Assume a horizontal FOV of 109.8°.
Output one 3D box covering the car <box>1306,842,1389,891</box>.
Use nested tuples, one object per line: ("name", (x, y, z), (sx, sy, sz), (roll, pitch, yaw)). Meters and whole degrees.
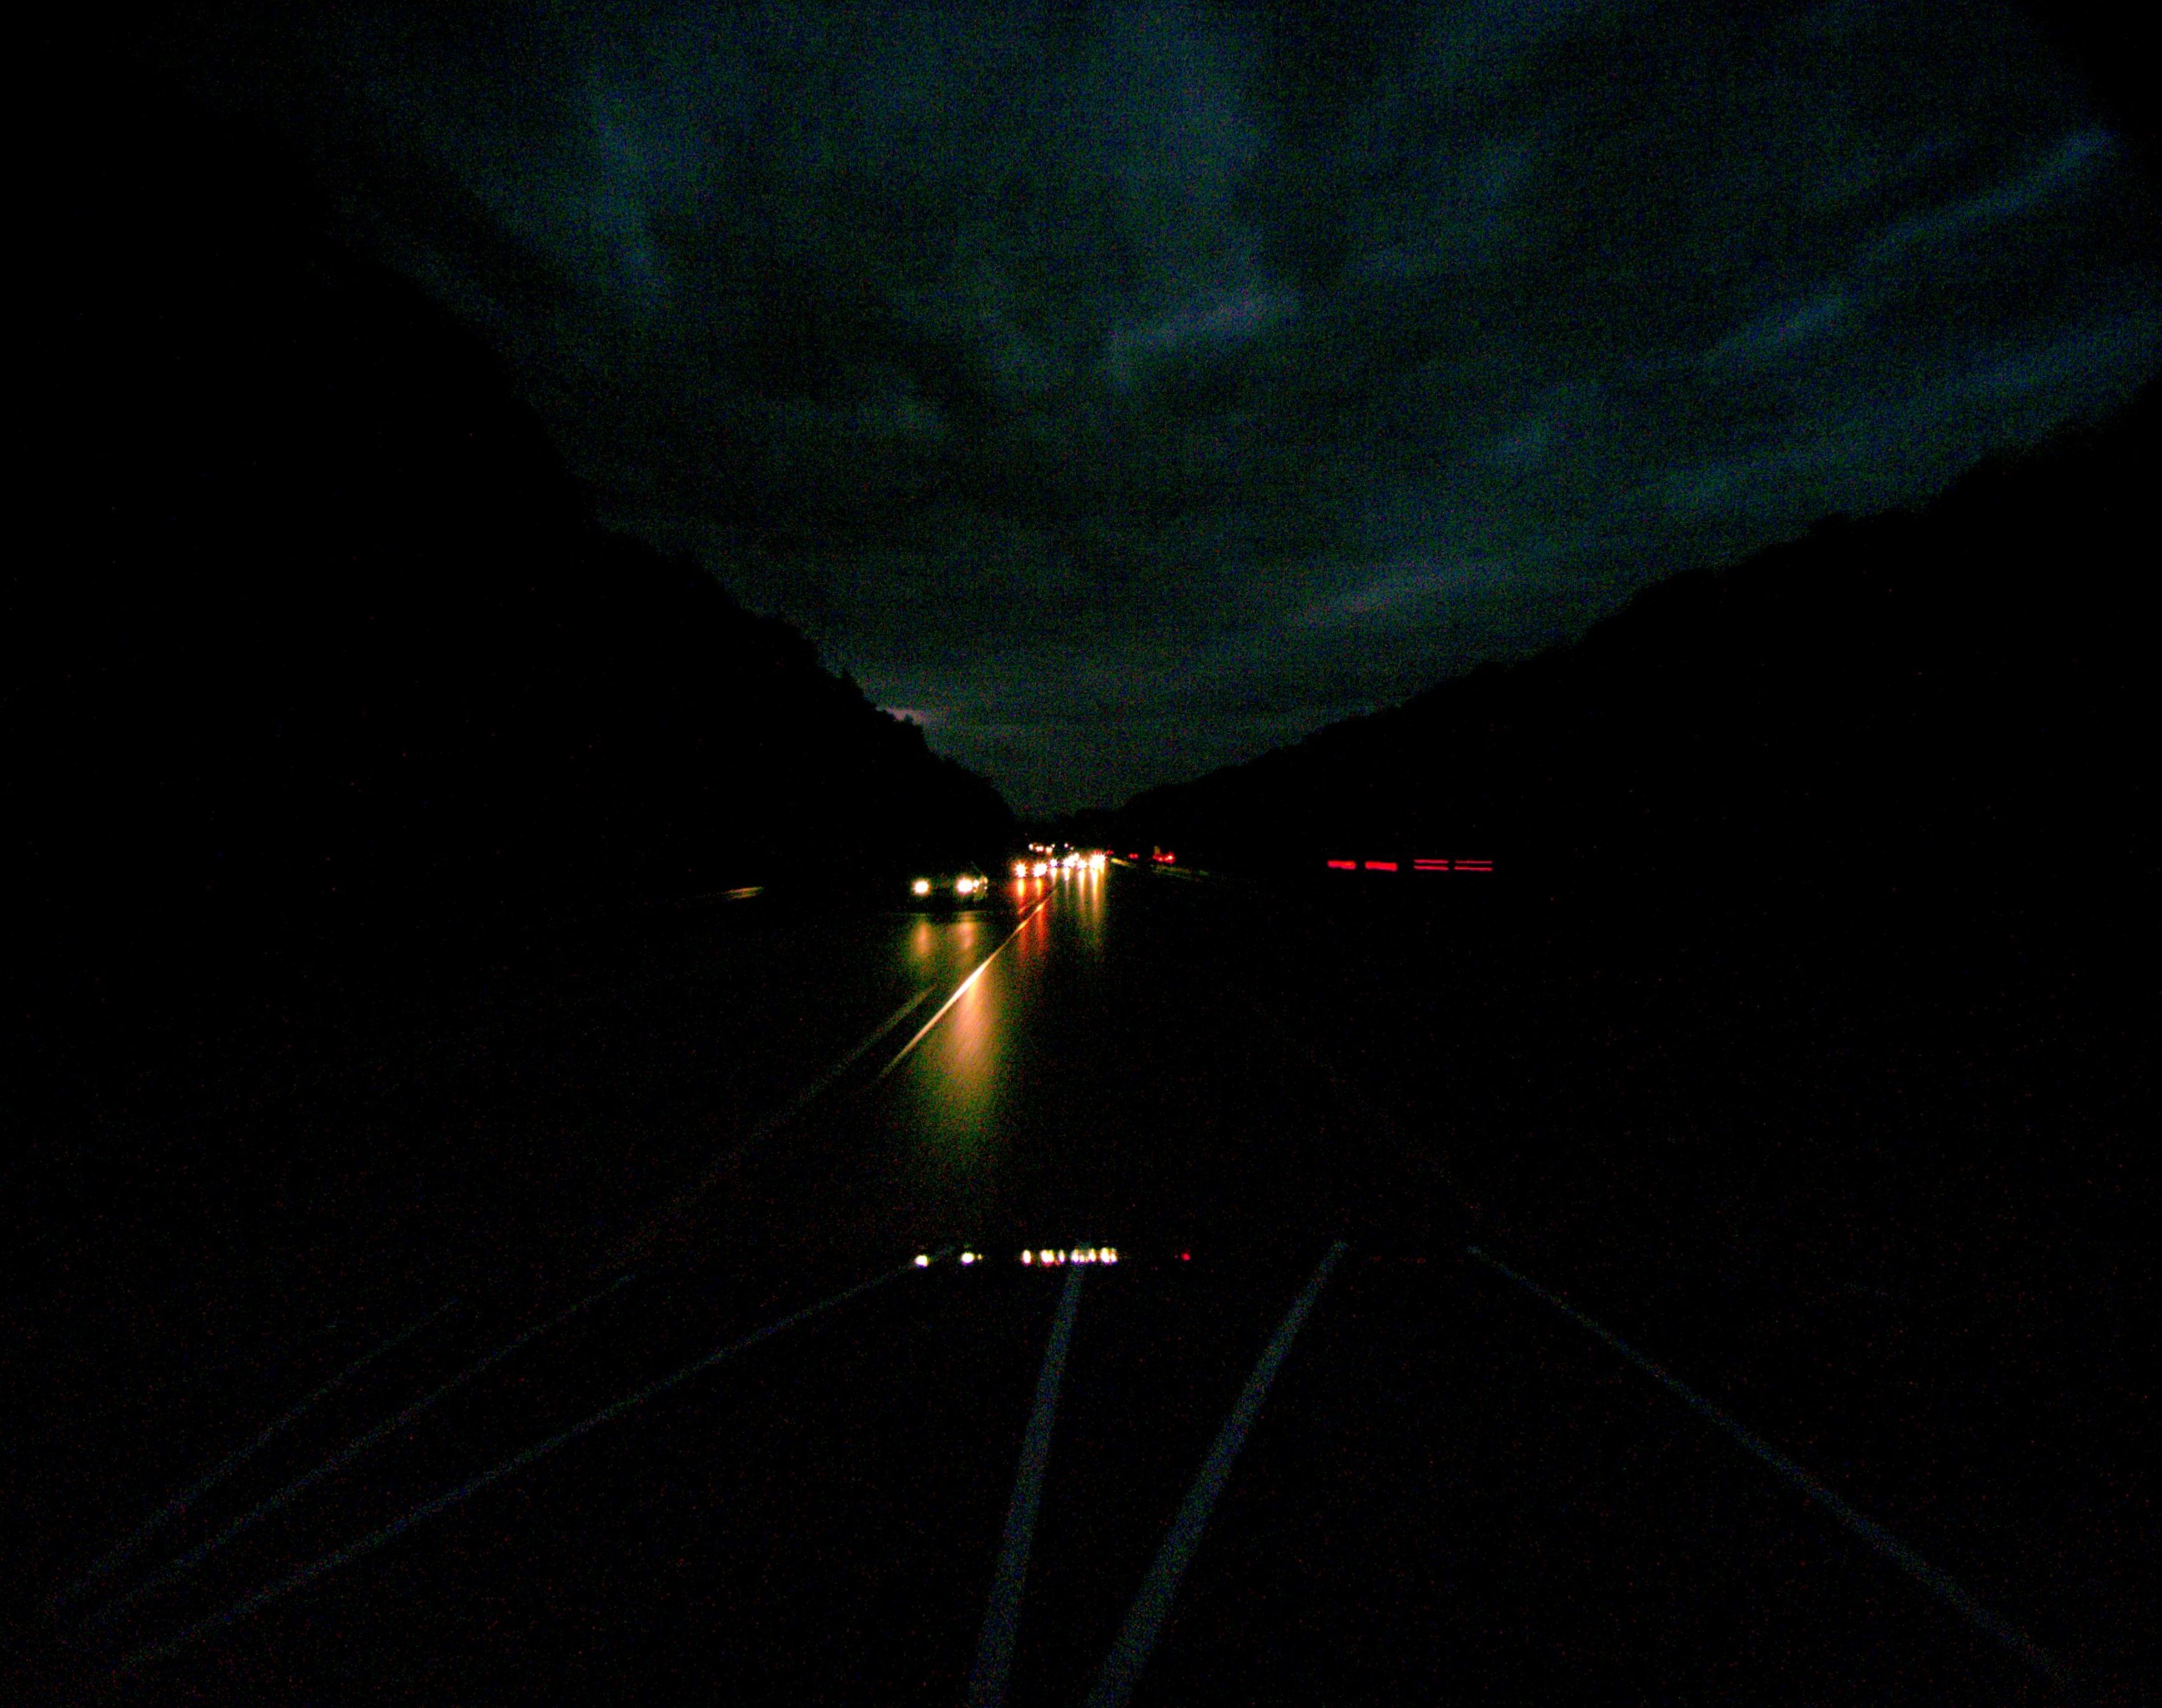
("car", (11.863, 0.517, 34.222), (1.998, 2.002, 5.360), (0, 0, 2))

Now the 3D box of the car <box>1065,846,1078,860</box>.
("car", (-2.393, -0.360, 199.300), (2.998, 3.660, 9.999), (-1, 1, 1))

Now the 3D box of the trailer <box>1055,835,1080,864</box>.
("trailer", (-1.980, -0.850, 118.454), (2.488, 4.050, 13.504), (-2, 2, 4))

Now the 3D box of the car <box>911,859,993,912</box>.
("car", (-4.063, 0.943, 24.688), (1.870, 1.427, 4.583), (-2, 1, 0))

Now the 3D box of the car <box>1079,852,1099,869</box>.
("car", (0.942, 0.655, 84.745), (1.869, 1.701, 4.584), (-2, 1, 5))

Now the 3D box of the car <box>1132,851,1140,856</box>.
("car", (15.912, -0.085, 220.950), (1.915, 1.443, 5.354), (-1, 0, 1))

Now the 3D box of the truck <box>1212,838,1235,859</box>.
("truck", (27.770, -1.117, 148.519), (3.198, 4.081, 7.688), (-2, 1, 2))

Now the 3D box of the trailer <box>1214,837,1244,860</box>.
("trailer", (27.631, -1.042, 142.373), (3.198, 4.081, 14.182), (-2, 1, 2))

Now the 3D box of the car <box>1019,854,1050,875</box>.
("car", (-3.448, 0.800, 57.064), (1.695, 1.481, 4.951), (-3, -1, 3))

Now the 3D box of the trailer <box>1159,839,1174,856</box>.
("trailer", (20.493, -1.627, 182.699), (2.653, 3.908, 10.185), (-1, 0, 1))

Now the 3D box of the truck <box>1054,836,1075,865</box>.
("truck", (-2.402, -0.545, 111.559), (2.497, 3.946, 5.590), (-2, 2, 3))

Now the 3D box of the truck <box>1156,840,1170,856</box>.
("truck", (20.663, -1.600, 191.370), (2.653, 3.948, 7.121), (-1, 0, 1))

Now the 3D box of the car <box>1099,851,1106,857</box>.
("car", (5.271, -0.055, 187.095), (1.695, 1.481, 4.948), (0, 1, 1))

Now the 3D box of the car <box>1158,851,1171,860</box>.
("car", (16.188, 0.267, 147.514), (1.885, 1.565, 4.654), (-1, 0, 0))

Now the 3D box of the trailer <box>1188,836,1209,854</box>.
("trailer", (28.177, -2.143, 183.073), (3.199, 4.081, 13.738), (-2, 1, 1))

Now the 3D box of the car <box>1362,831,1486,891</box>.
("car", (15.614, 0.298, 35.304), (2.319, 2.469, 7.518), (0, 0, 0))
